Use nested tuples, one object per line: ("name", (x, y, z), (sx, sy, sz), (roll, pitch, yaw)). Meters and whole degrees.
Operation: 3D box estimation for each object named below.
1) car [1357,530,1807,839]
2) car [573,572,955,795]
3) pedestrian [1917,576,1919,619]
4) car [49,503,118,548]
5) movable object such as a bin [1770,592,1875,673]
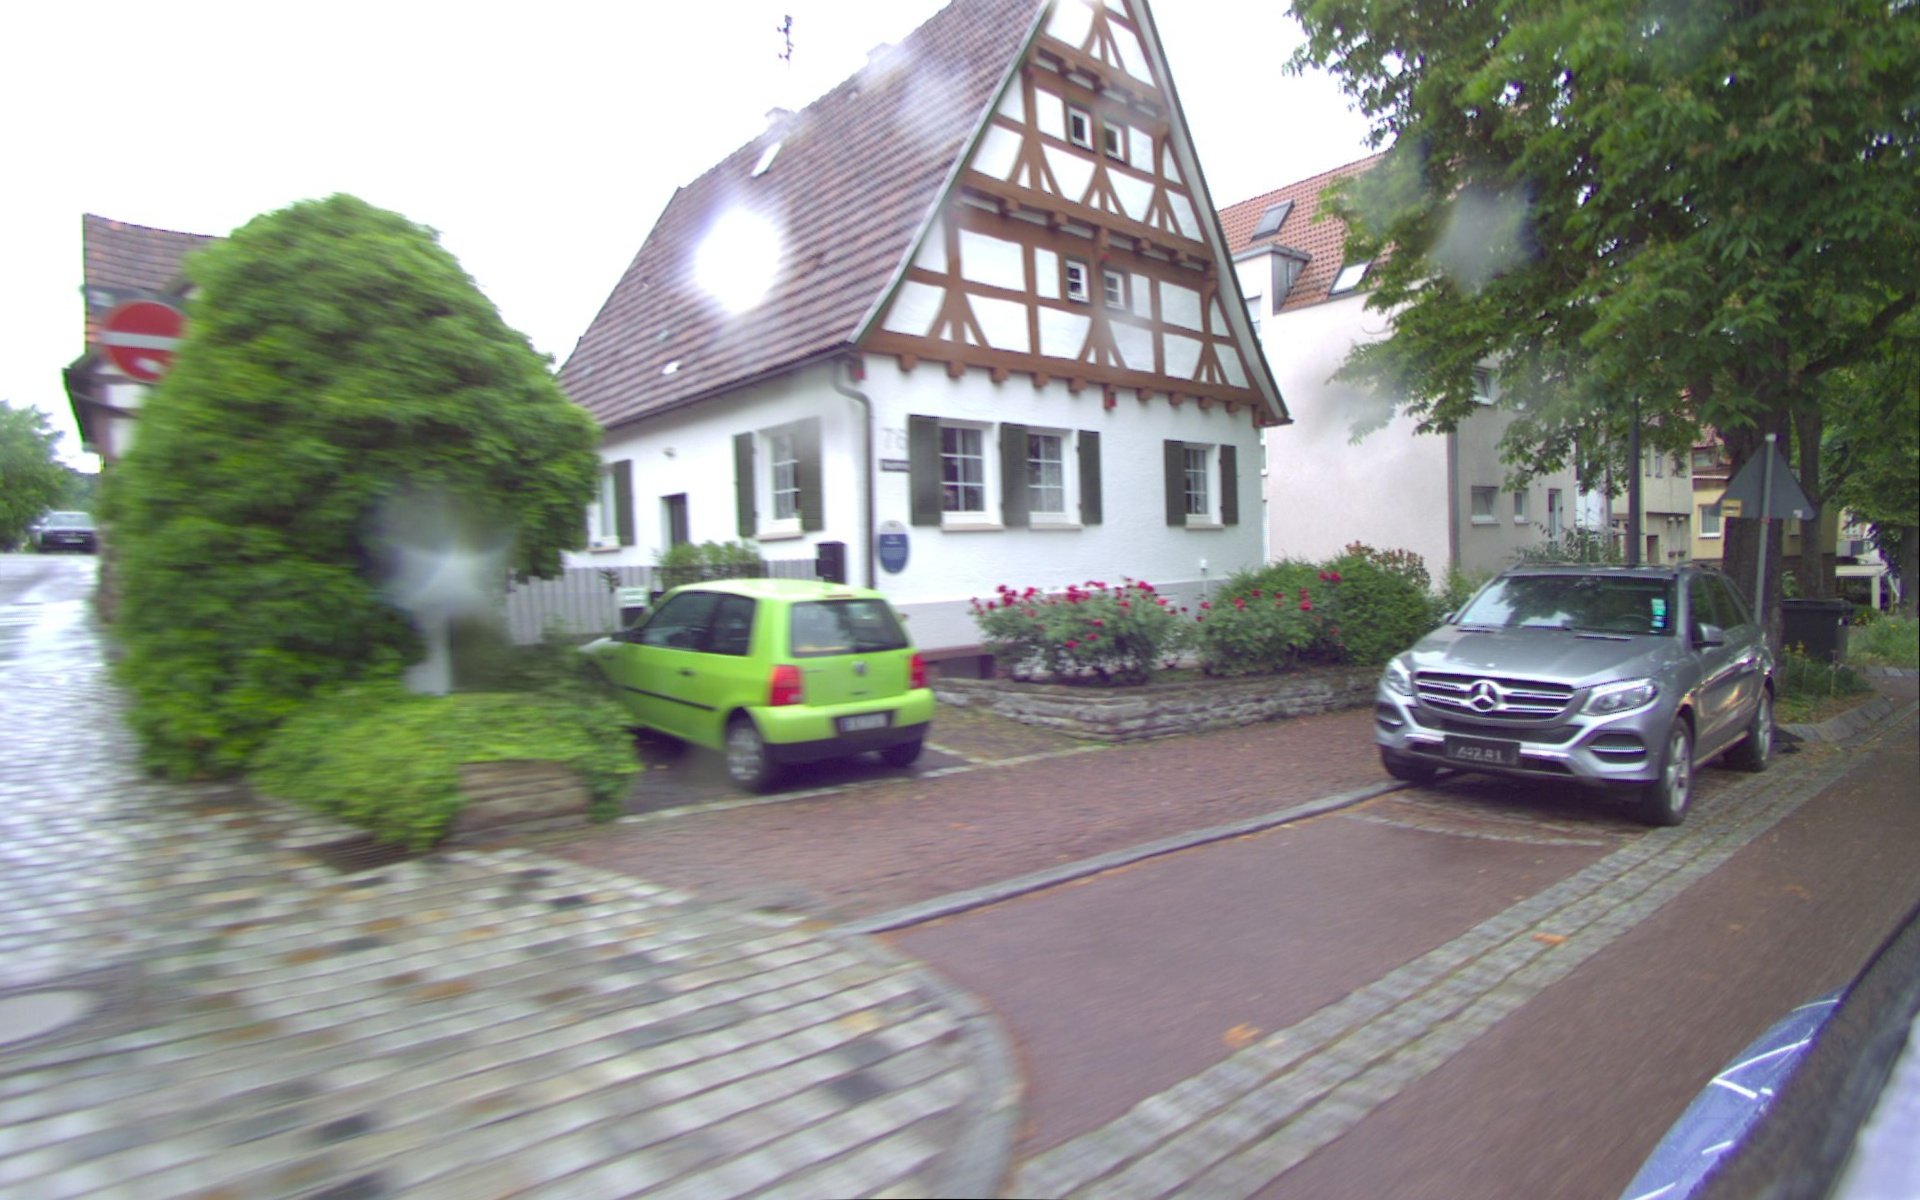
("car", (5.173, 0.474, 8.142), (4.411, 1.815, 1.917), (-1, 0, -42))
("car", (-1.777, 0.512, 8.513), (1.604, 1.448, 3.368), (0, 2, -43))
("pedestrian", (37.803, -0.100, 39.128), (0.778, 1.672, 0.959), (-1, 1, -27))
("car", (-34.052, -2.908, 39.400), (1.683, 1.656, 3.664), (-3, 5, -37))
("movable object such as a bin", (15.289, 0.542, 17.952), (1.113, 1.332, 1.228), (-1, 1, -38))
